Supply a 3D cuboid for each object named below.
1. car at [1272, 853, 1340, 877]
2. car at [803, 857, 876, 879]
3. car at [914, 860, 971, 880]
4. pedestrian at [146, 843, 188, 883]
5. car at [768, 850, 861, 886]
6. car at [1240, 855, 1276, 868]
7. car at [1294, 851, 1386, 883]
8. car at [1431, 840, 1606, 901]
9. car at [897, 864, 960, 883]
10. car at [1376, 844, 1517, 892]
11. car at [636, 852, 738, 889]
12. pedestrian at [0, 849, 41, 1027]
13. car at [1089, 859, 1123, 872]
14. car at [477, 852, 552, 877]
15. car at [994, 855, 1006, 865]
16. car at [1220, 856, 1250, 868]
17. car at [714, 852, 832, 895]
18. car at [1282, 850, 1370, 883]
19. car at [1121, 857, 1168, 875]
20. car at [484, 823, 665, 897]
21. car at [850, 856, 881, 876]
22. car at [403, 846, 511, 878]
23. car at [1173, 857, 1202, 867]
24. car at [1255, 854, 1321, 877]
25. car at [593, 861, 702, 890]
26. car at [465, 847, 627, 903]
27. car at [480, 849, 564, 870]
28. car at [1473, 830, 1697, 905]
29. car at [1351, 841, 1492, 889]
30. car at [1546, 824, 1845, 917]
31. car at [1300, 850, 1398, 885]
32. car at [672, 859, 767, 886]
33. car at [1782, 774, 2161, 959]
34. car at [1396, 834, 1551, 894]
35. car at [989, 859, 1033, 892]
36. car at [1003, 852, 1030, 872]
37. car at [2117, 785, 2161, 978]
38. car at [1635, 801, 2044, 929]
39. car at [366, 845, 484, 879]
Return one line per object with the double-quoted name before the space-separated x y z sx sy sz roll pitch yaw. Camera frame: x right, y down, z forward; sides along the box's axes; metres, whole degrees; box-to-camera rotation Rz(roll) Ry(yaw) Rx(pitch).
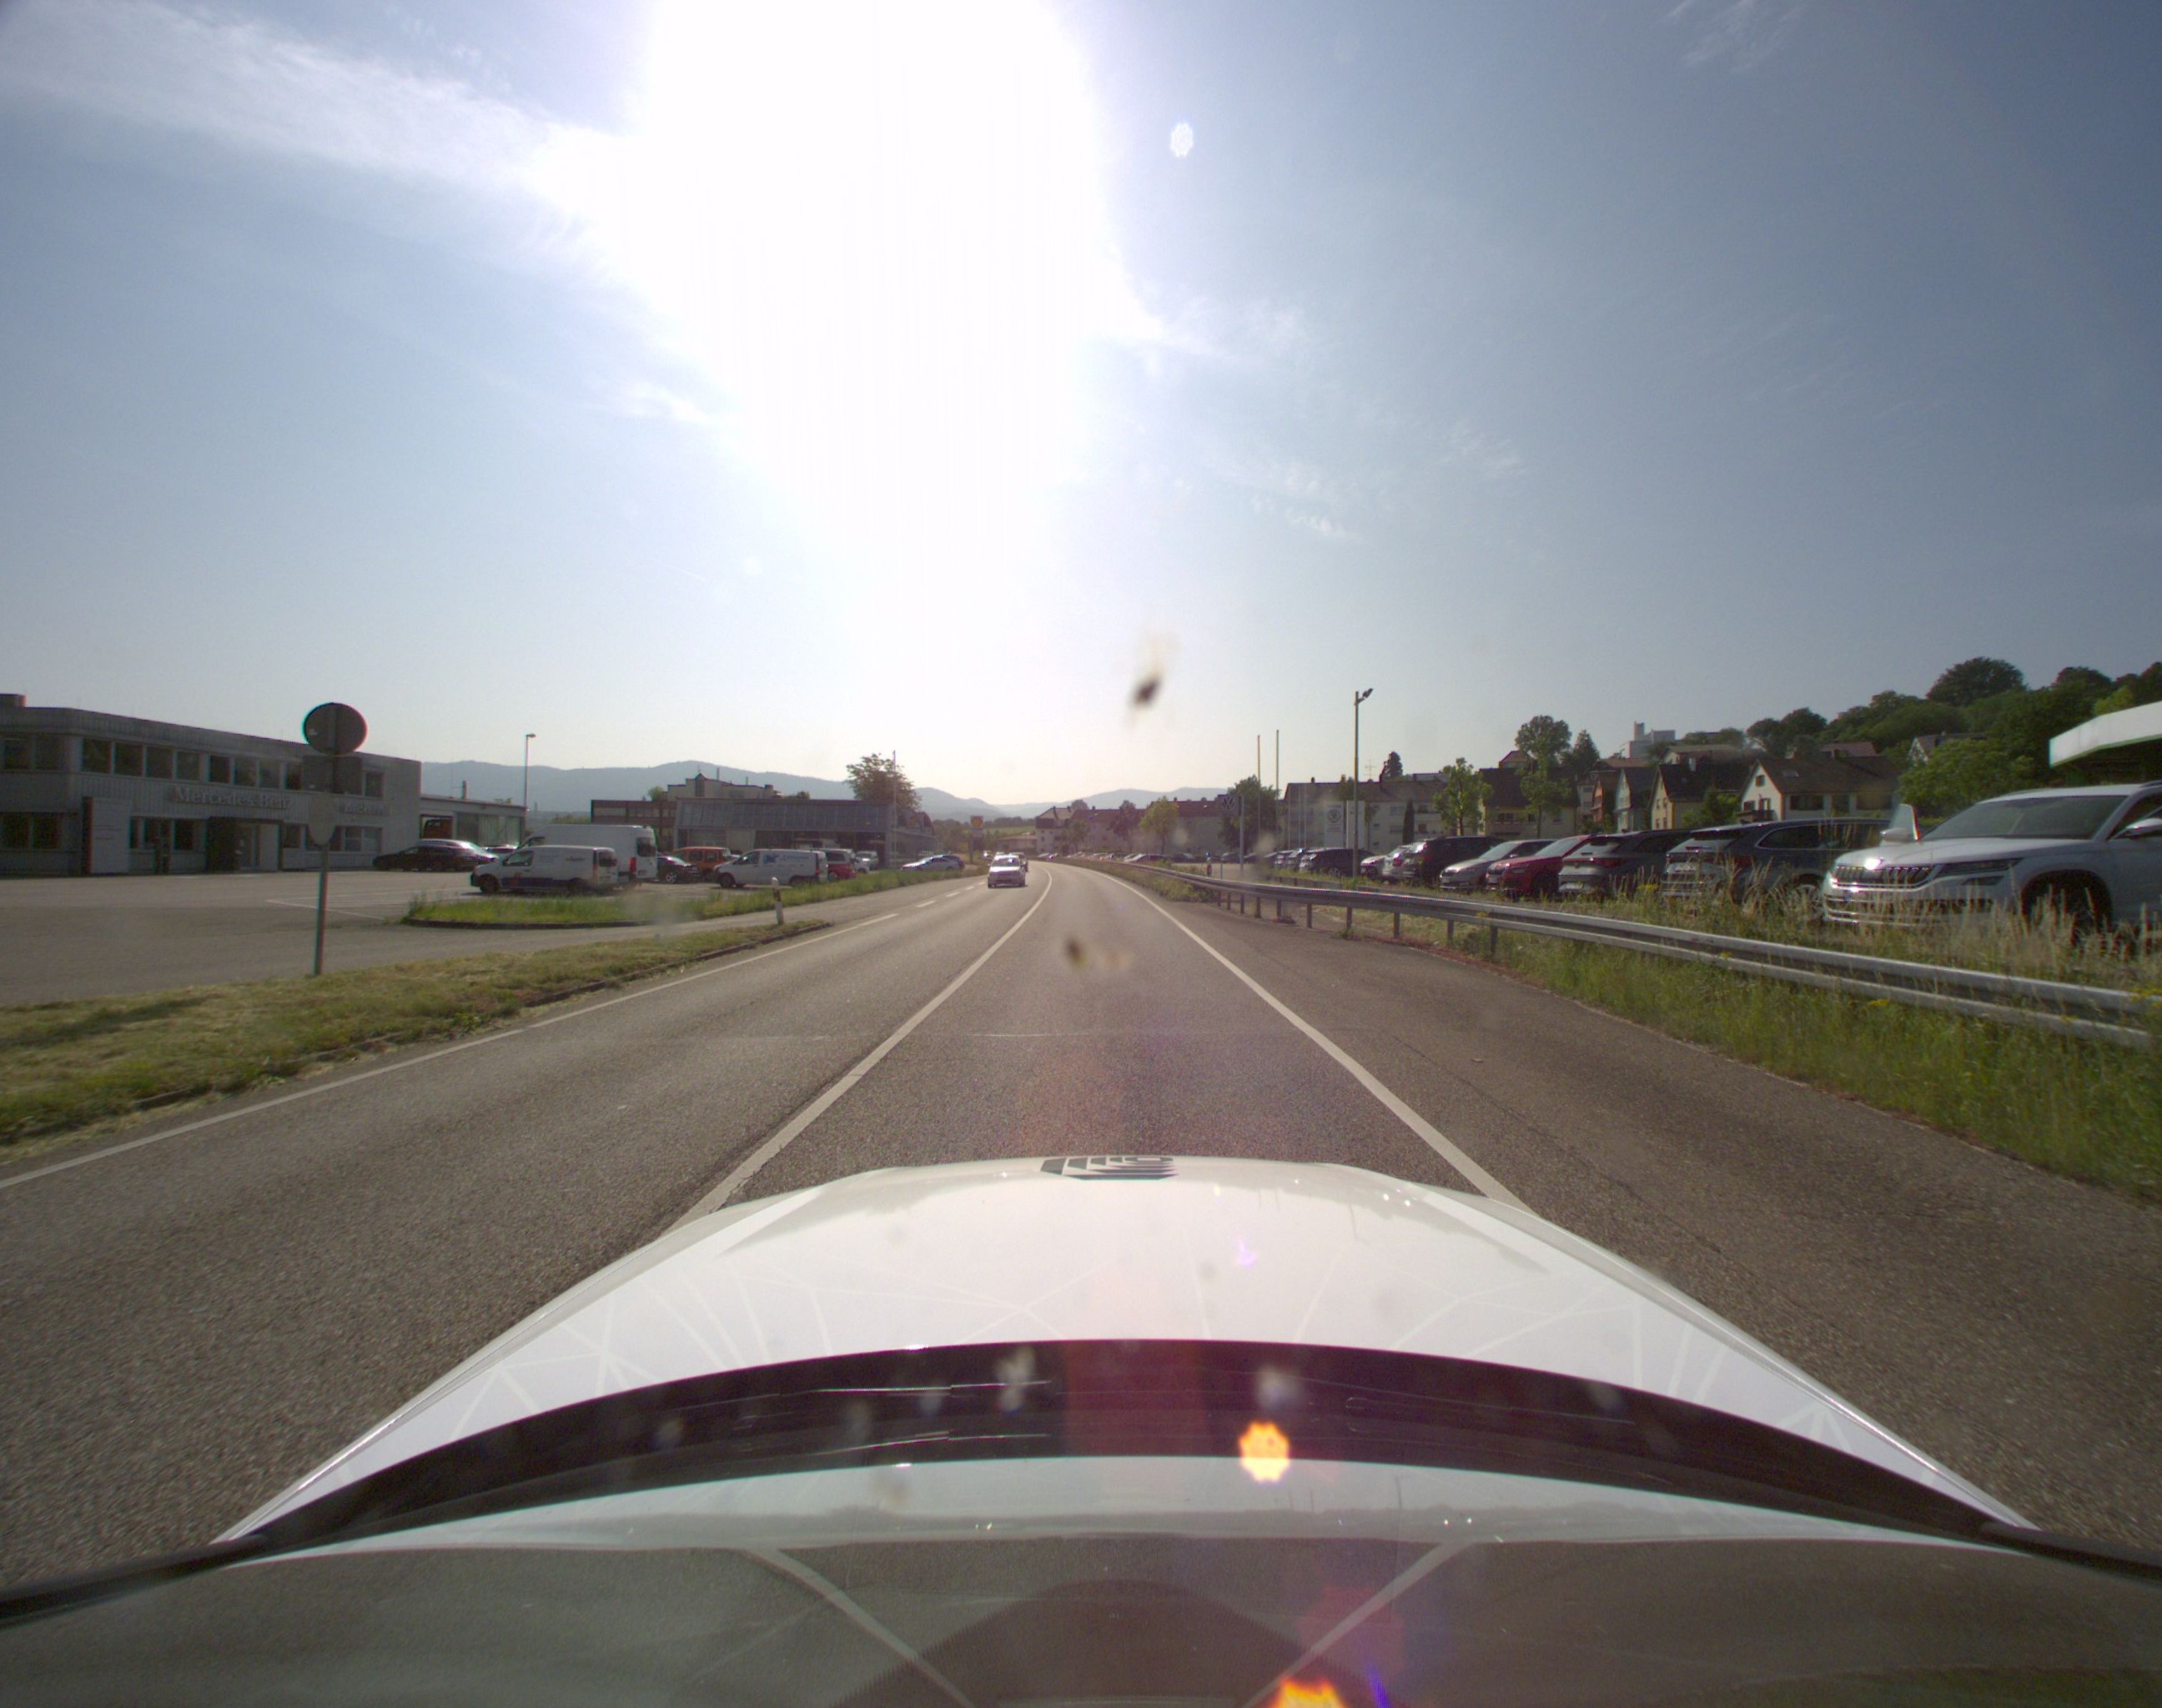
"car" 15.209 0.758 55.158 4.082 1.516 1.823 -1 -1 -3
"car" -16.055 0.932 54.268 4.254 1.403 1.875 1 -2 -43
"car" -11.299 1.303 66.694 4.256 1.507 1.961 -1 0 -43
"pedestrian" -39.528 0.377 35.233 0.819 1.689 0.849 -1 -1 -5
"car" -15.944 0.814 48.925 4.782 1.981 2.226 2 0 -4
"car" 22.790 0.990 104.773 4.510 1.600 1.824 0 -1 -30
"car" 12.758 0.654 40.301 3.975 1.494 1.790 -1 -1 -1
"car" 11.470 0.429 21.530 3.716 1.459 1.666 -2 -1 3
"car" -11.638 1.453 62.363 4.419 1.367 1.831 -1 0 -43
"car" 12.308 0.473 27.644 4.014 1.486 1.726 -2 -1 6
"car" -20.968 0.856 43.454 4.371 1.808 1.999 2 0 -4
"pedestrian" -10.754 0.799 7.576 0.840 1.689 1.150 -1 -1 24
"car" 3.133 1.467 101.959 3.988 1.580 1.772 -1 -1 -11
"car" -36.220 0.691 52.215 1.801 1.492 4.562 0 -1 -3
"car" -14.491 1.088 146.084 1.792 1.630 4.212 -2 0 -10
"car" 20.370 1.049 107.724 3.779 1.521 1.640 0 -1 -32
"car" -14.322 0.901 38.109 4.661 1.858 2.141 1 0 -4
"car" 12.811 0.640 42.744 4.068 1.610 1.790 -1 -1 -4
"car" 5.938 1.157 76.247 4.152 1.491 1.729 -2 -1 -5
"car" -20.232 0.255 32.771 5.705 2.745 2.284 1 -1 -2
"car" -19.601 1.054 74.369 1.800 1.713 4.404 0 1 -2
"car" -37.025 0.433 48.433 4.802 1.854 1.952 0 0 -2
"car" 16.045 1.242 122.873 1.920 1.405 4.481 0 -1 -30
"car" 14.714 0.798 57.872 4.151 1.516 1.821 -1 -1 -6
"car" -21.423 1.061 40.346 4.371 1.319 1.797 1 0 -4
"car" -19.306 0.742 29.568 4.435 1.840 1.984 2 -1 -4
"car" -42.044 0.410 61.305 4.798 1.566 2.212 0 0 1
"car" 11.629 0.318 18.996 4.066 1.552 1.783 -2 -1 3
"car" 12.605 0.412 30.333 4.435 1.600 1.853 -1 -1 -2
"car" 10.491 0.287 14.149 3.821 1.458 1.747 -1 -1 4
"car" 12.286 0.624 37.548 3.972 1.494 1.730 -1 -1 1
"car" -20.319 1.022 45.952 4.456 1.398 1.964 1 -1 -4
"car" 9.921 0.109 8.244 3.973 1.632 1.921 -1 -1 0
"car" 11.873 0.319 24.867 3.858 1.663 1.843 -2 -1 6
"car" -3.365 1.027 39.802 1.671 1.473 3.708 -2 0 2
"car" -5.532 0.648 70.456 1.804 1.630 4.543 -2 0 2
"car" 10.091 0.167 5.357 3.971 1.452 1.952 -1 -1 2
"car" 10.603 0.165 11.685 3.969 1.632 1.923 -1 -1 4
"car" -36.944 0.429 45.984 4.802 1.854 2.210 0 0 -2
